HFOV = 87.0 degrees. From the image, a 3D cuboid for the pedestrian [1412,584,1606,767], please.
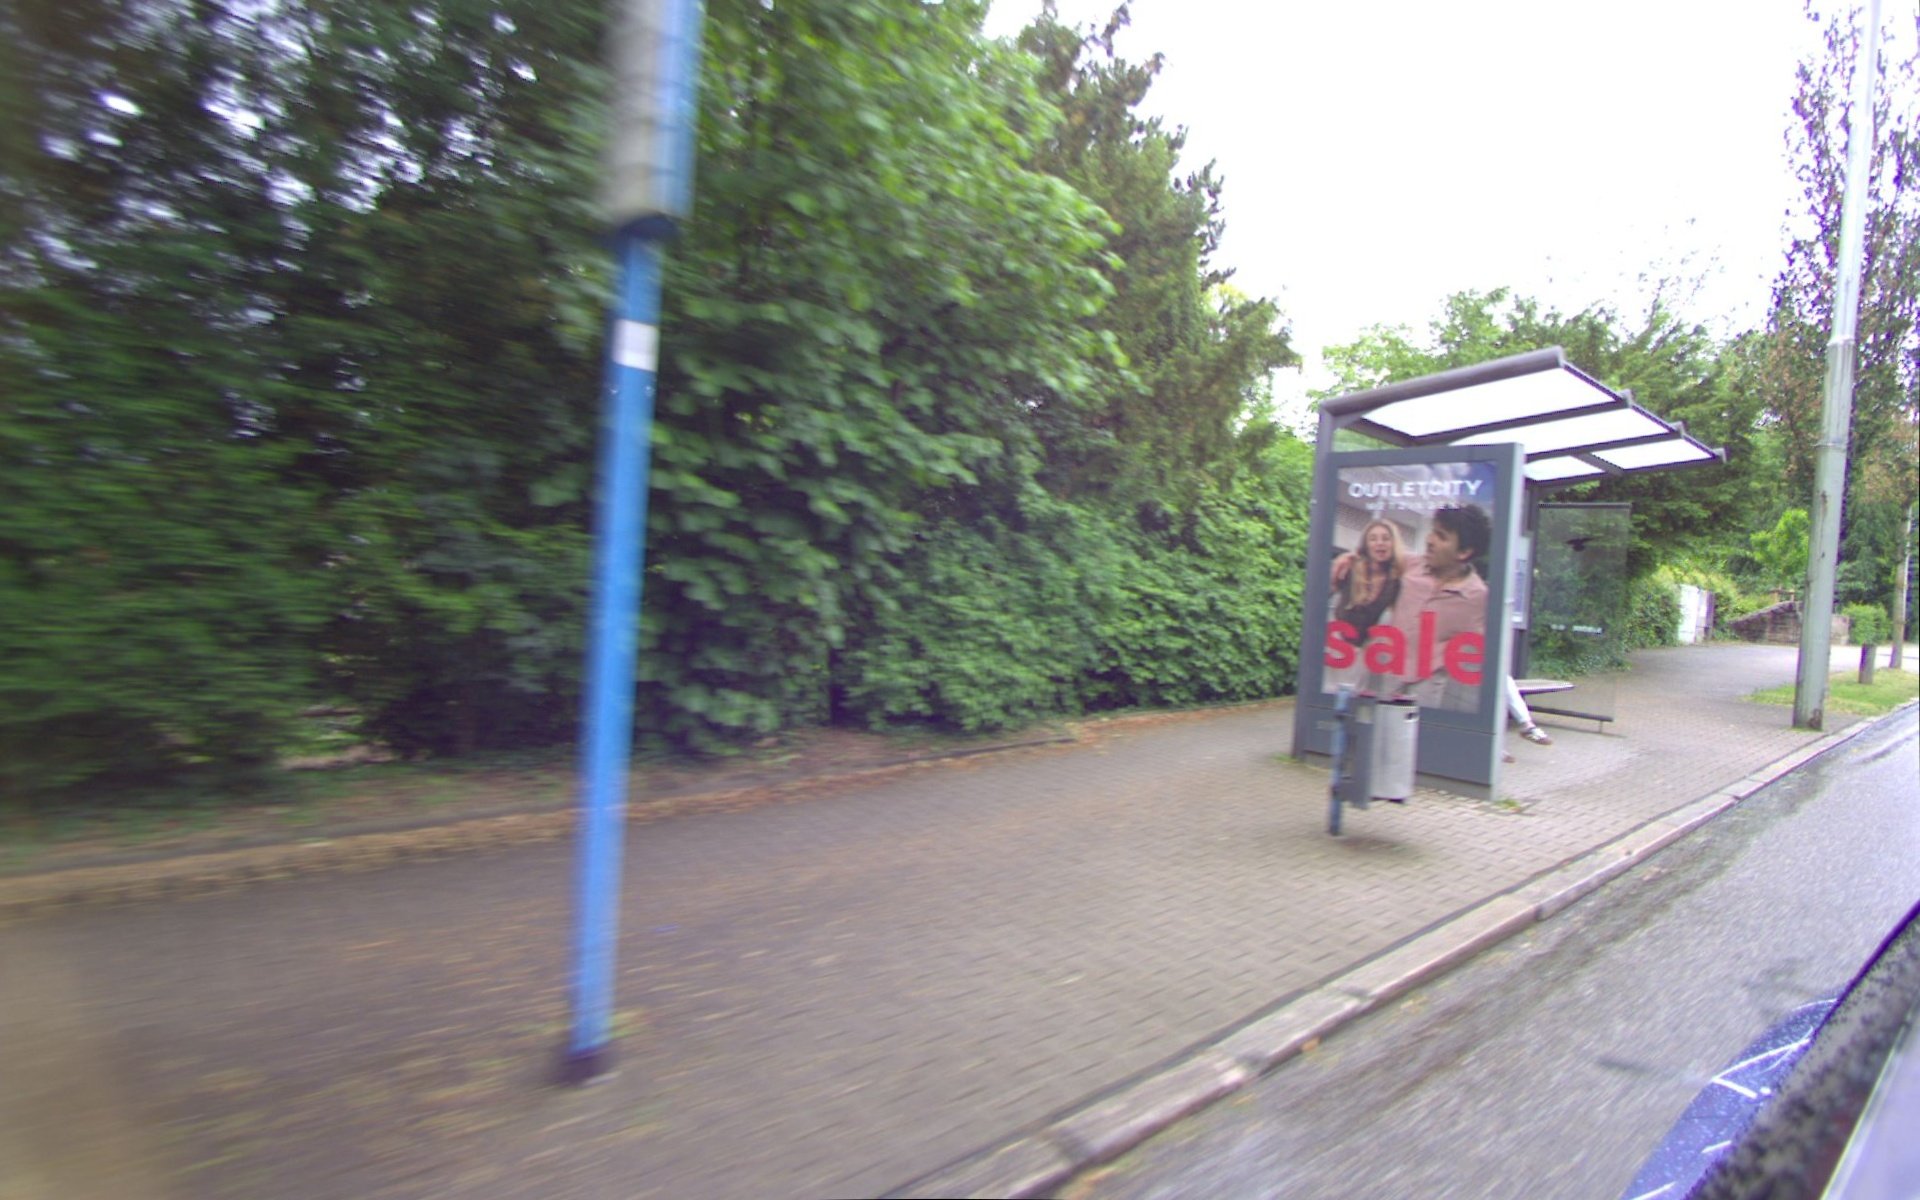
[{"bbox_3d":[4.619,0.587,8.556,0.900,1.372,1.078,1,3,-34],"label":"pedestrian"}]
